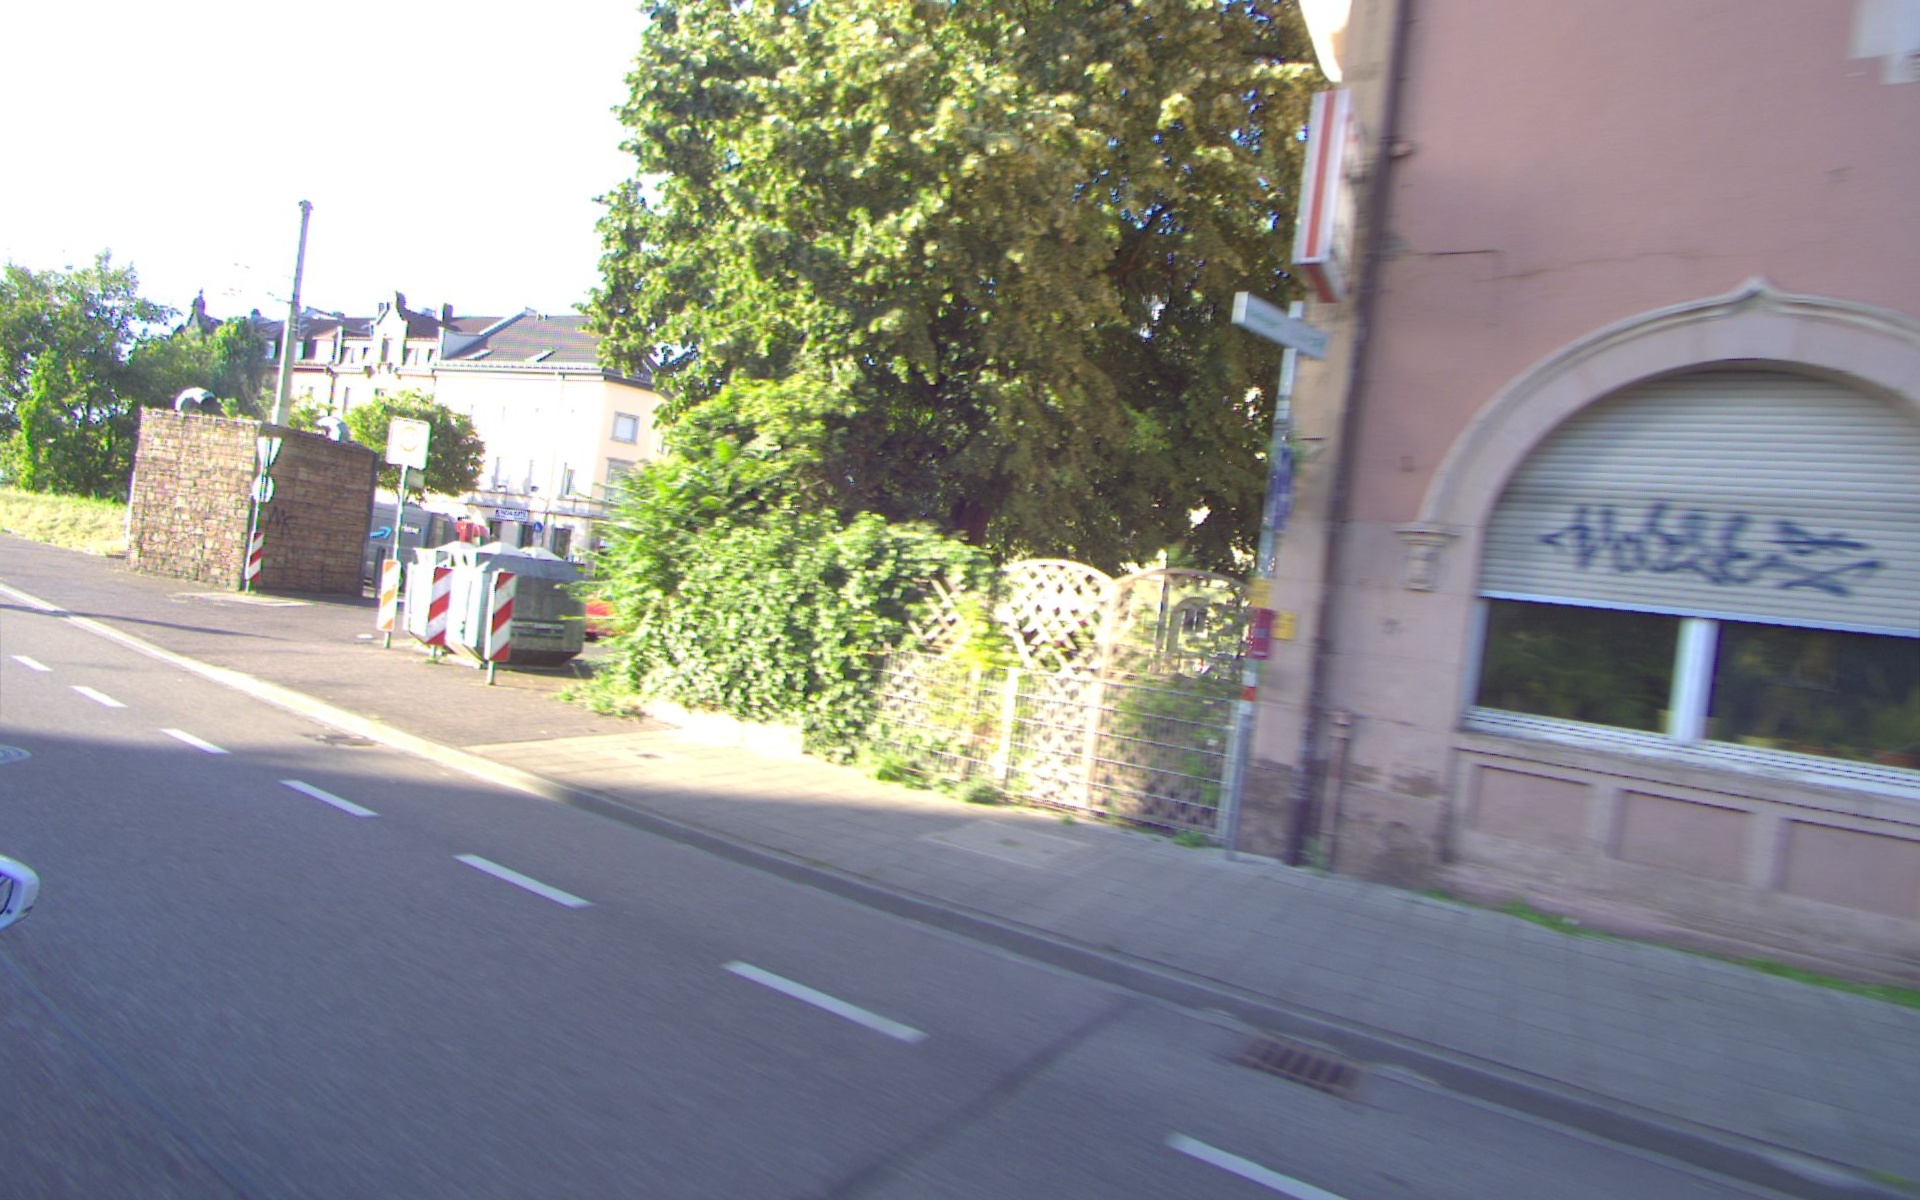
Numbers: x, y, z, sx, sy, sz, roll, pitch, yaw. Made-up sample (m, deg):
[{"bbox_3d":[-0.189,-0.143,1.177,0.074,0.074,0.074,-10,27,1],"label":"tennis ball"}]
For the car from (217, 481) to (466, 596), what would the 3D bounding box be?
[{"bbox_3d":[-19.020,-1.838,31.171,6.103,2.699,2.042,7,1,-3],"label":"car"}]

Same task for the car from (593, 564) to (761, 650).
[{"bbox_3d":[-6.608,0.182,23.735,3.383,1.555,1.631,7,-1,-2],"label":"car"}]

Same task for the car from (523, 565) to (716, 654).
[{"bbox_3d":[-7.043,0.204,21.061,3.383,1.374,1.630,7,0,-2],"label":"car"}]

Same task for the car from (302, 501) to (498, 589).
[{"bbox_3d":[-19.004,-1.830,34.345,5.317,2.241,2.042,7,0,-3],"label":"car"}]

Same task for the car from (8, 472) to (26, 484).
[{"bbox_3d":[-161.485,-20.892,172.240,1.850,1.563,3.955,6,1,-40],"label":"car"}]

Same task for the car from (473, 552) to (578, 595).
[{"bbox_3d":[-19.256,-1.168,44.702,3.819,1.391,1.778,7,0,-3],"label":"car"}]
